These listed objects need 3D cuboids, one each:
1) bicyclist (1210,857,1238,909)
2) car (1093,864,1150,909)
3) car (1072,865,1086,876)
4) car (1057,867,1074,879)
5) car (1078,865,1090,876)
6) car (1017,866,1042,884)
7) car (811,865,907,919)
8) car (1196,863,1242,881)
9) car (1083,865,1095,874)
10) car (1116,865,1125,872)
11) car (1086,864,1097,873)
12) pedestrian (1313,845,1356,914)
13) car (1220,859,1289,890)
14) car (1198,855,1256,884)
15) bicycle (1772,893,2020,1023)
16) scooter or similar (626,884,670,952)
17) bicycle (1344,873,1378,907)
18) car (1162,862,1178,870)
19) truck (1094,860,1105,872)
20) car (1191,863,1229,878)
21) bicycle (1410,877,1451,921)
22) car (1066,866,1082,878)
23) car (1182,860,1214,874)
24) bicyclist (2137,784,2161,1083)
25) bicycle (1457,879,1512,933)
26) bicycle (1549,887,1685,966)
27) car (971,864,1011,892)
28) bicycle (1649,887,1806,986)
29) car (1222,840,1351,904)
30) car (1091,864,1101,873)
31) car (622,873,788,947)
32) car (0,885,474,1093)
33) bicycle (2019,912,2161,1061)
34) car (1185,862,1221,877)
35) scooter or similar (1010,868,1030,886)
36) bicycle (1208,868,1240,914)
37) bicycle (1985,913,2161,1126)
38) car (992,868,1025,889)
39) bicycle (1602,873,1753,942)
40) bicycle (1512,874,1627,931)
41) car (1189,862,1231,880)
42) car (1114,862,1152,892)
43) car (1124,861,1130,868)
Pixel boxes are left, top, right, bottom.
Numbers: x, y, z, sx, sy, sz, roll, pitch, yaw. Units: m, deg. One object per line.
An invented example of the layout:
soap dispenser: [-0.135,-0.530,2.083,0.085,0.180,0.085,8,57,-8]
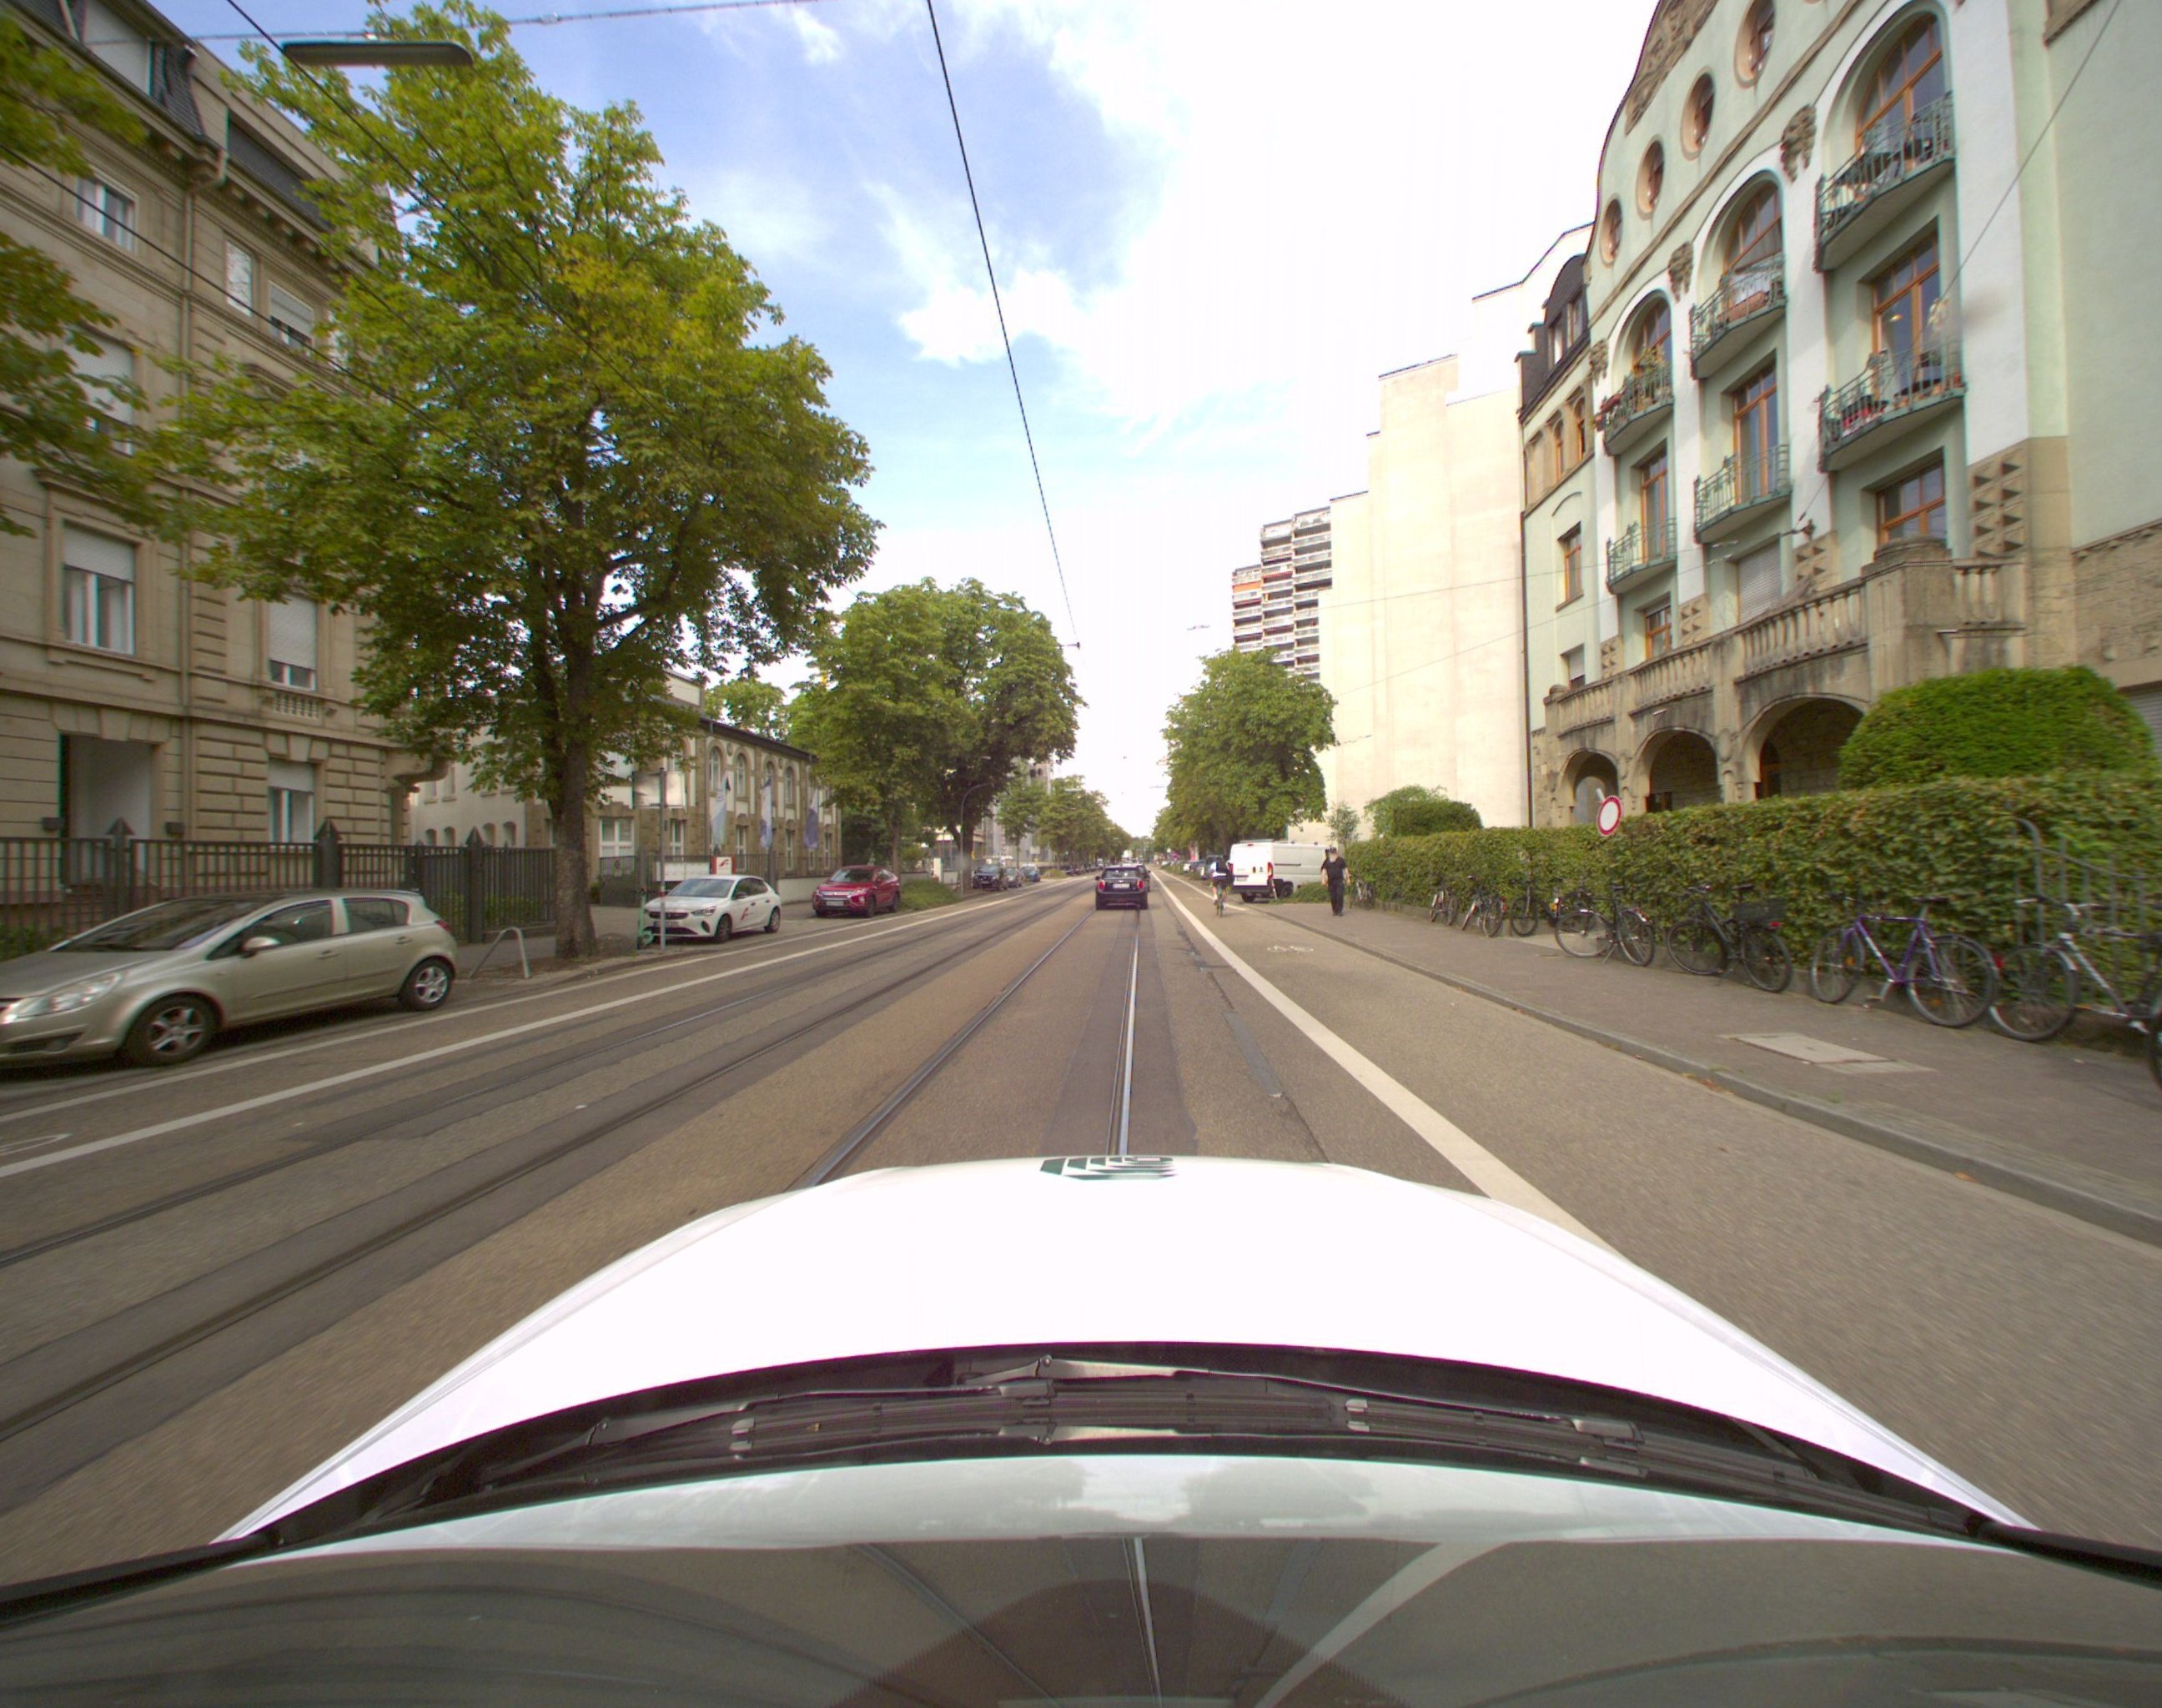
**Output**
bicyclist: [4.085,0.824,23.349,0.654,1.463,1.179,0,-1,3]
car: [1.336,1.049,27.678,1.787,1.423,4.001,0,-1,2]
car: [-0.223,2.482,121.813,1.795,1.583,4.035,-2,-1,4]
car: [-1.908,2.397,102.431,1.795,1.374,4.035,-2,-1,4]
car: [0.505,2.693,132.531,1.795,1.583,4.035,-2,-1,4]
car: [-4.299,1.755,68.643,1.686,1.487,3.680,0,-1,3]
car: [-7.366,1.198,27.490,1.714,1.655,4.546,1,-1,3]
car: [11.037,1.427,65.197,3.850,1.460,1.620,0,-2,-43]
car: [1.400,2.674,142.743,1.795,1.583,4.035,-2,-1,4]
car: [8.349,2.982,173.455,1.827,1.448,4.557,-1,-1,4]
car: [2.044,2.769,151.689,1.795,1.583,4.035,-2,-1,4]
pedestrian: [6.592,0.658,21.245,0.782,1.733,0.897,-4,-1,3]
car: [9.814,1.110,45.907,4.131,1.668,1.669,0,-2,-42]
car: [10.526,1.082,58.605,4.298,2.015,1.809,0,-2,-41]
bicycle: [6.782,0.818,6.906,0.483,0.907,1.667,-2,-1,4]
scooter or similar: [-8.450,1.219,15.923,0.563,1.223,1.315,-1,-1,-19]
bicycle: [7.975,1.018,23.267,0.384,0.907,1.843,-2,-1,2]
car: [23.375,3.161,214.152,3.972,1.911,2.000,0,-1,1]
truck: [4.010,2.592,176.153,2.062,2.470,4.903,-2,-1,4]
car: [12.523,1.583,78.803,3.759,1.459,1.621,0,-2,-41]
bicycle: [7.708,0.968,17.999,0.384,0.907,1.669,-2,-1,9]
car: [-0.941,2.471,112.959,1.795,1.583,4.035,-2,-1,4]
car: [13.158,1.442,91.497,3.461,1.573,1.543,0,-1,-35]
bicyclist: [5.598,0.371,3.627,0.645,1.470,0.801,-3,-1,1]
bicycle: [7.406,0.939,15.019,0.384,0.907,1.669,-2,-1,9]
bicycle: [6.919,0.898,10.605,0.485,0.907,1.661,-2,-2,-7]
car: [-5.509,1.455,50.177,1.748,1.647,4.056,0,-1,4]
bicycle: [6.818,0.832,8.694,0.483,0.907,1.668,-2,-1,7]
car: [8.044,0.664,31.708,4.983,2.290,2.357,0,-2,-39]
car: [3.011,2.882,163.069,1.795,1.583,4.035,-2,-1,4]
car: [-8.415,1.192,18.655,1.714,1.424,4.026,1,-1,3]
car: [-8.595,1.114,8.277,1.593,1.468,4.083,-1,-1,4]
bicycle: [6.684,0.826,5.094,0.276,0.852,1.199,-2,-2,5]
car: [12.840,1.624,85.470,3.550,1.442,1.606,0,-1,-35]
scooter or similar: [-4.803,1.827,64.484,1.436,1.344,0.701,-2,-1,5]
bicycle: [4.087,1.044,23.447,0.654,1.249,2.126,0,-1,3]
bicycle: [5.628,0.838,3.736,0.686,0.962,2.037,-3,-1,2]
car: [-5.011,1.668,56.763,1.686,1.427,3.871,0,-1,4]
bicycle: [8.480,0.762,11.635,1.648,0.907,0.489,-2,-2,12]
bicycle: [8.448,0.840,14.121,1.653,0.907,0.487,-2,-2,2]
car: [11.389,1.459,71.756,3.759,1.522,1.621,0,-2,-41]
car: [2.660,1.180,42.398,1.787,1.470,4.000,1,-1,1]
car: [14.222,3.278,252.905,1.795,1.823,4.488,-2,-1,4]
